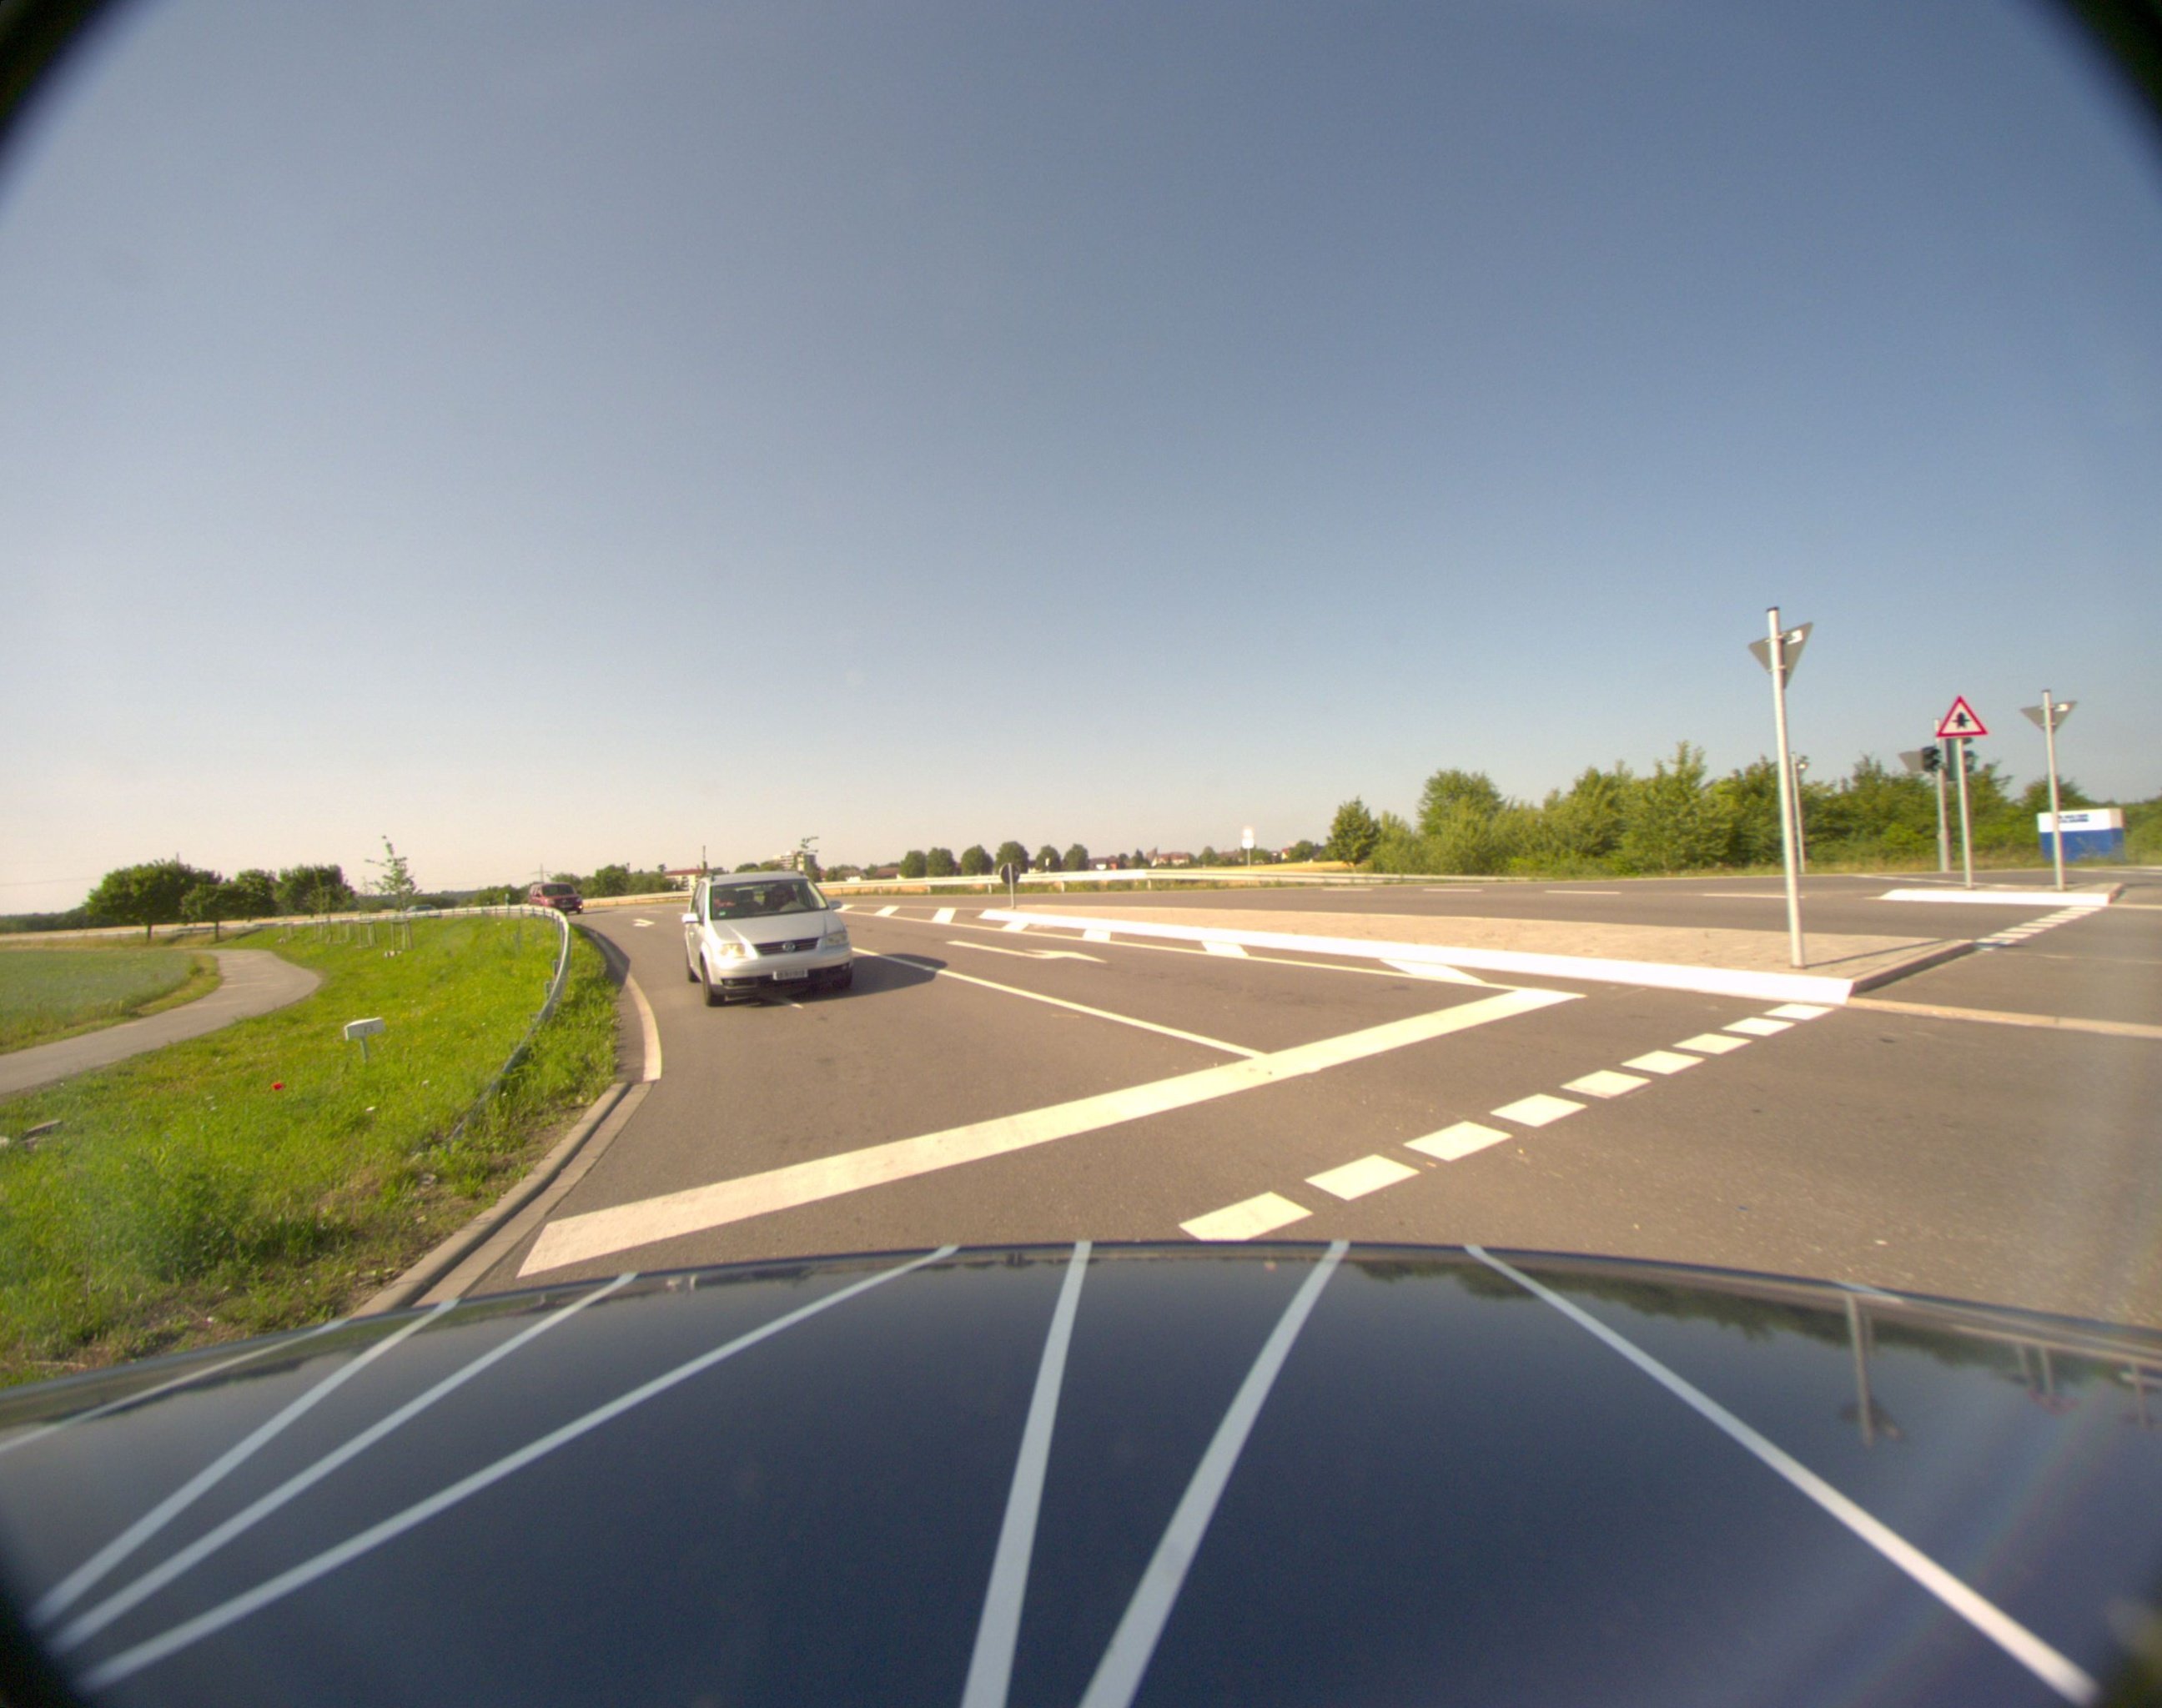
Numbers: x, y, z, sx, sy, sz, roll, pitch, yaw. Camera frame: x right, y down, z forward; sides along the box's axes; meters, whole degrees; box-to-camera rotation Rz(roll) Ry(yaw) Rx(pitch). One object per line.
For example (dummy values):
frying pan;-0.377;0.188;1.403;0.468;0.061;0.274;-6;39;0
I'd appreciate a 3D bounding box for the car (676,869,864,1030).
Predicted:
car;-4.547;1.124;10.704;1.759;1.685;4.205;-4;1;-31

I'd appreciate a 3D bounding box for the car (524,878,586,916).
car;-28.166;2.320;40.650;4.686;1.826;1.697;-4;0;43
